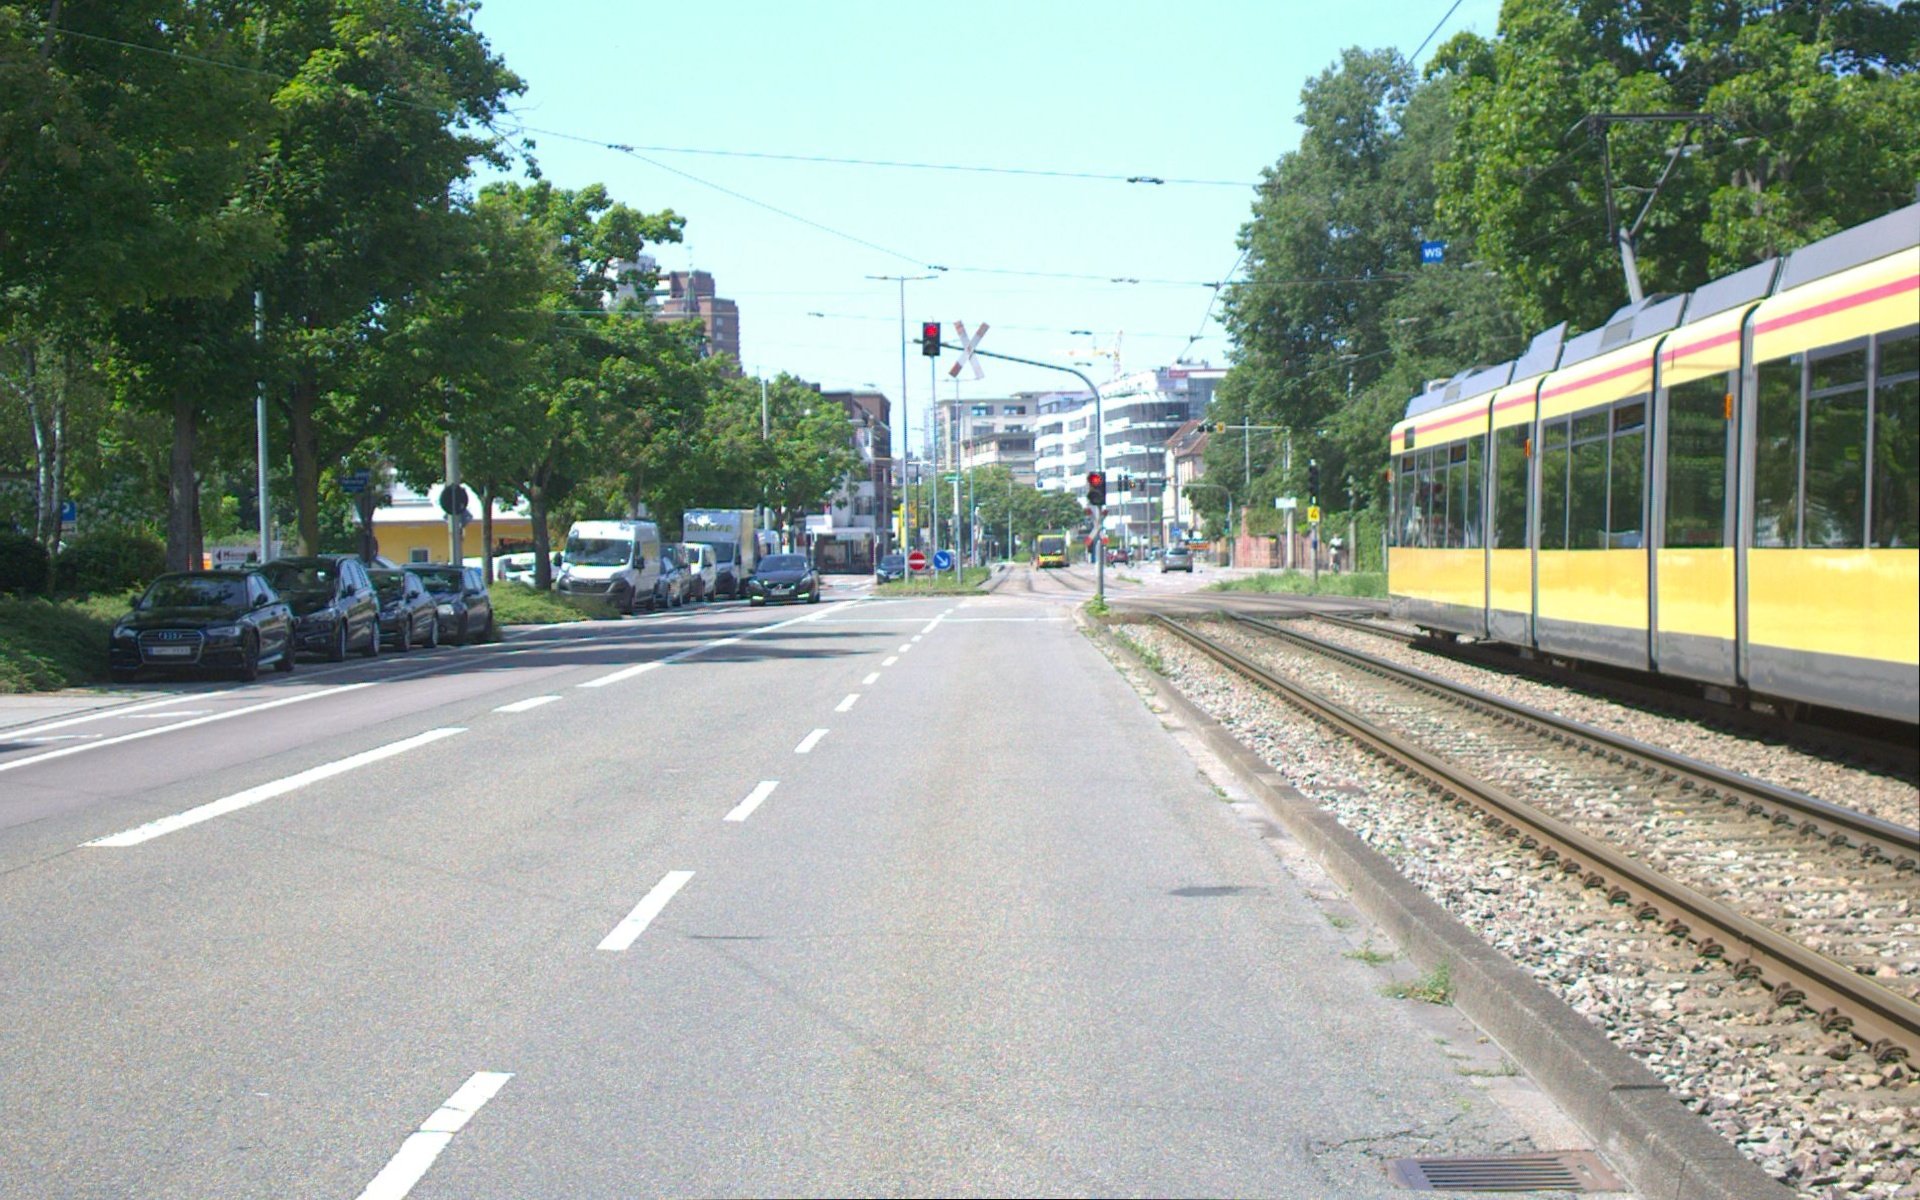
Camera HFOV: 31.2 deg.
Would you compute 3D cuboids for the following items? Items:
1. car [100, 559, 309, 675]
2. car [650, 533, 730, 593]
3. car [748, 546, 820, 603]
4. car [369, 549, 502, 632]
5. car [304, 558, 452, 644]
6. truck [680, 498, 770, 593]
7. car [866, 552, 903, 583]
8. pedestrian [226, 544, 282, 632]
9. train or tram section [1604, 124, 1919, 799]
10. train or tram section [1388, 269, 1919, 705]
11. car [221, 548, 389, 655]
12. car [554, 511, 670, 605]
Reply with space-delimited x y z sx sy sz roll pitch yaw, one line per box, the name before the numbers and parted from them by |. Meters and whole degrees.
car | -10.134 0.187 46.435 1.774 1.451 4.804 -1 1 0
car | -8.912 -1.244 113.942 2.061 1.891 4.871 -1 1 2
car | -4.881 -0.728 95.813 1.774 1.455 4.195 -2 1 0
car | -9.760 -0.203 64.247 1.775 1.476 4.047 1 1 1
car | -10.022 -0.012 59.527 1.774 1.368 4.697 1 1 0
truck | -8.308 -1.947 122.212 2.157 3.199 7.081 2 1 4
car | -3.672 -1.591 167.490 1.678 1.393 4.006 -3 1 0
pedestrian | -14.873 -0.261 72.442 0.974 1.817 0.795 -1 1 -1
train or tram section | 6.728 -0.776 19.909 2.943 3.679 18.389 0 1 1
train or tram section | 7.259 -1.141 39.191 2.944 3.679 20.283 0 1 2
car | -10.238 -0.013 54.016 1.774 1.598 4.638 0 1 0
car | -9.478 -1.168 94.108 2.157 2.478 6.192 -1 1 4
